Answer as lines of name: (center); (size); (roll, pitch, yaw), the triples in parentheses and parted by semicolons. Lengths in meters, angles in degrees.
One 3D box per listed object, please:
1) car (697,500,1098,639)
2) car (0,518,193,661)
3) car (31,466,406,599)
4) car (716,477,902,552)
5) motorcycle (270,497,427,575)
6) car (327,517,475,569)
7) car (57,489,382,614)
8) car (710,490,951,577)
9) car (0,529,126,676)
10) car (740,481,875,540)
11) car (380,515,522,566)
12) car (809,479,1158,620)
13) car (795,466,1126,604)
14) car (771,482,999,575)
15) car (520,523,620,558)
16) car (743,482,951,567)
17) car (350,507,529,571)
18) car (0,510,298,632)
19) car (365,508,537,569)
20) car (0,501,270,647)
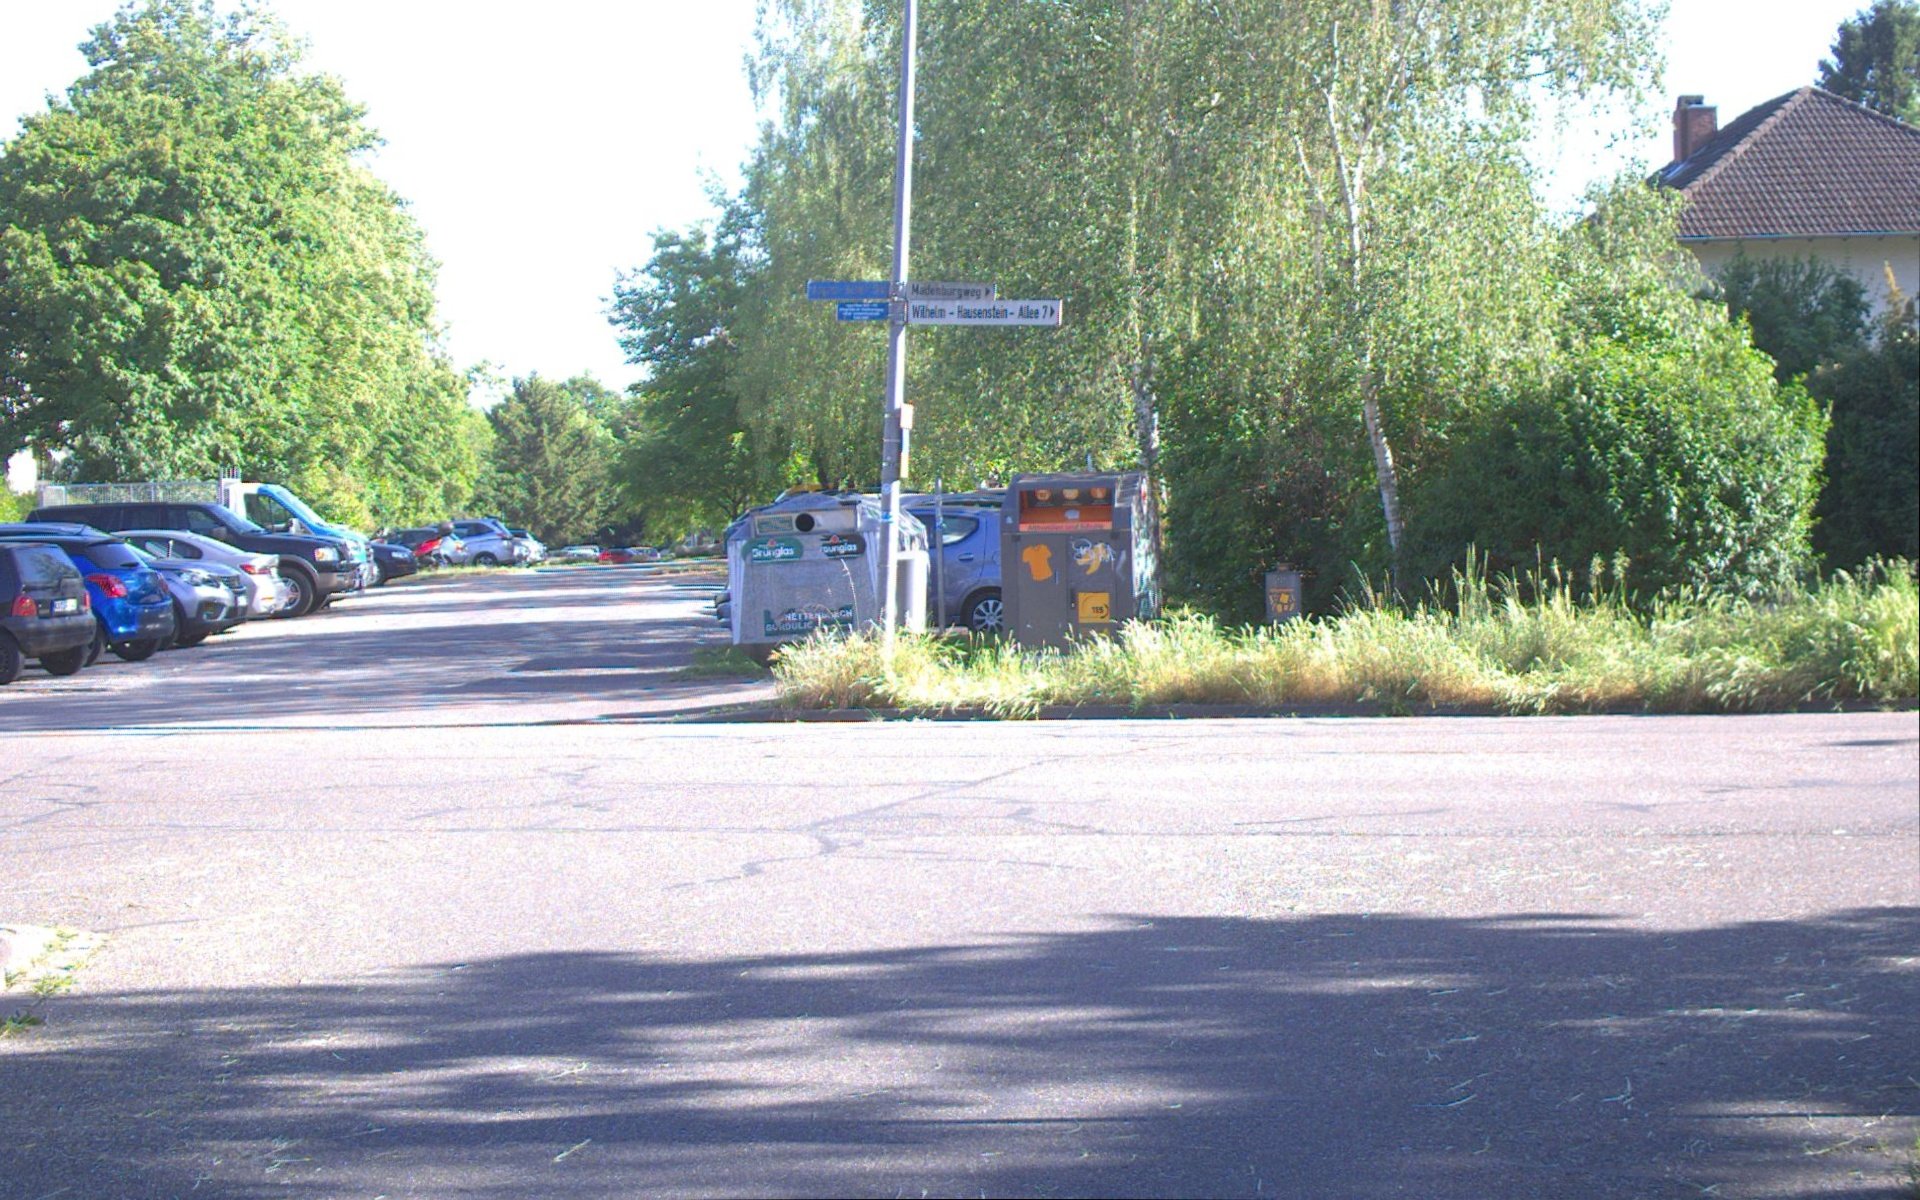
car: (-0.642, -0.337, 36.839); (4.054, 1.434, 1.634); (0, 1, 10)
car: (-10.776, -0.094, 38.896); (3.681, 1.491, 1.651); (-2, 2, 10)
car: (-13.202, -1.225, 61.597); (6.255, 2.139, 2.411); (-2, 2, -5)
car: (-3.285, -1.870, 75.523); (3.987, 1.580, 1.798); (-1, 1, 0)
motorcycle: (-13.176, -1.385, 74.137); (3.191, 1.590, 0.923); (-2, 2, -2)
car: (-15.773, -1.623, 97.161); (3.939, 1.329, 1.847); (-2, 2, -4)
car: (-11.363, -0.760, 52.935); (4.522, 1.765, 1.847); (-2, 2, 2)
car: (-2.162, -1.126, 58.268); (3.987, 1.396, 1.798); (-1, 1, 0)
car: (-10.856, 0.034, 36.380); (3.524, 1.461, 1.703); (-1, 2, 14)
car: (-4.608, -2.694, 104.047); (3.987, 1.702, 1.798); (-1, 1, 0)
car: (-14.870, -1.748, 100.543); (3.939, 1.329, 1.847); (-2, 2, -4)
car: (0.266, -0.648, 42.369); (4.051, 1.597, 1.791); (-1, 3, -8)
car: (-0.020, -0.879, 45.241); (4.103, 1.700, 1.791); (-1, 3, -9)
car: (-1.320, -1.270, 61.523); (3.987, 1.580, 1.798); (-1, 1, 0)
car: (-14.696, -2.255, 129.655); (3.644, 1.208, 1.847); (-2, 2, -4)
car: (-2.178, -1.474, 67.034); (3.987, 1.580, 1.798); (-1, 1, 0)
car: (-12.035, -1.424, 79.691); (3.939, 1.329, 1.847); (-2, 2, -4)
car: (-11.228, -0.397, 46.825); (4.143, 1.450, 1.620); (-3, 1, -5)
car: (-12.263, -1.498, 82.996); (3.939, 1.329, 1.847); (-2, 2, -4)
car: (-11.303, -0.297, 42.757); (4.992, 1.649, 1.784); (-2, 2, 2)
